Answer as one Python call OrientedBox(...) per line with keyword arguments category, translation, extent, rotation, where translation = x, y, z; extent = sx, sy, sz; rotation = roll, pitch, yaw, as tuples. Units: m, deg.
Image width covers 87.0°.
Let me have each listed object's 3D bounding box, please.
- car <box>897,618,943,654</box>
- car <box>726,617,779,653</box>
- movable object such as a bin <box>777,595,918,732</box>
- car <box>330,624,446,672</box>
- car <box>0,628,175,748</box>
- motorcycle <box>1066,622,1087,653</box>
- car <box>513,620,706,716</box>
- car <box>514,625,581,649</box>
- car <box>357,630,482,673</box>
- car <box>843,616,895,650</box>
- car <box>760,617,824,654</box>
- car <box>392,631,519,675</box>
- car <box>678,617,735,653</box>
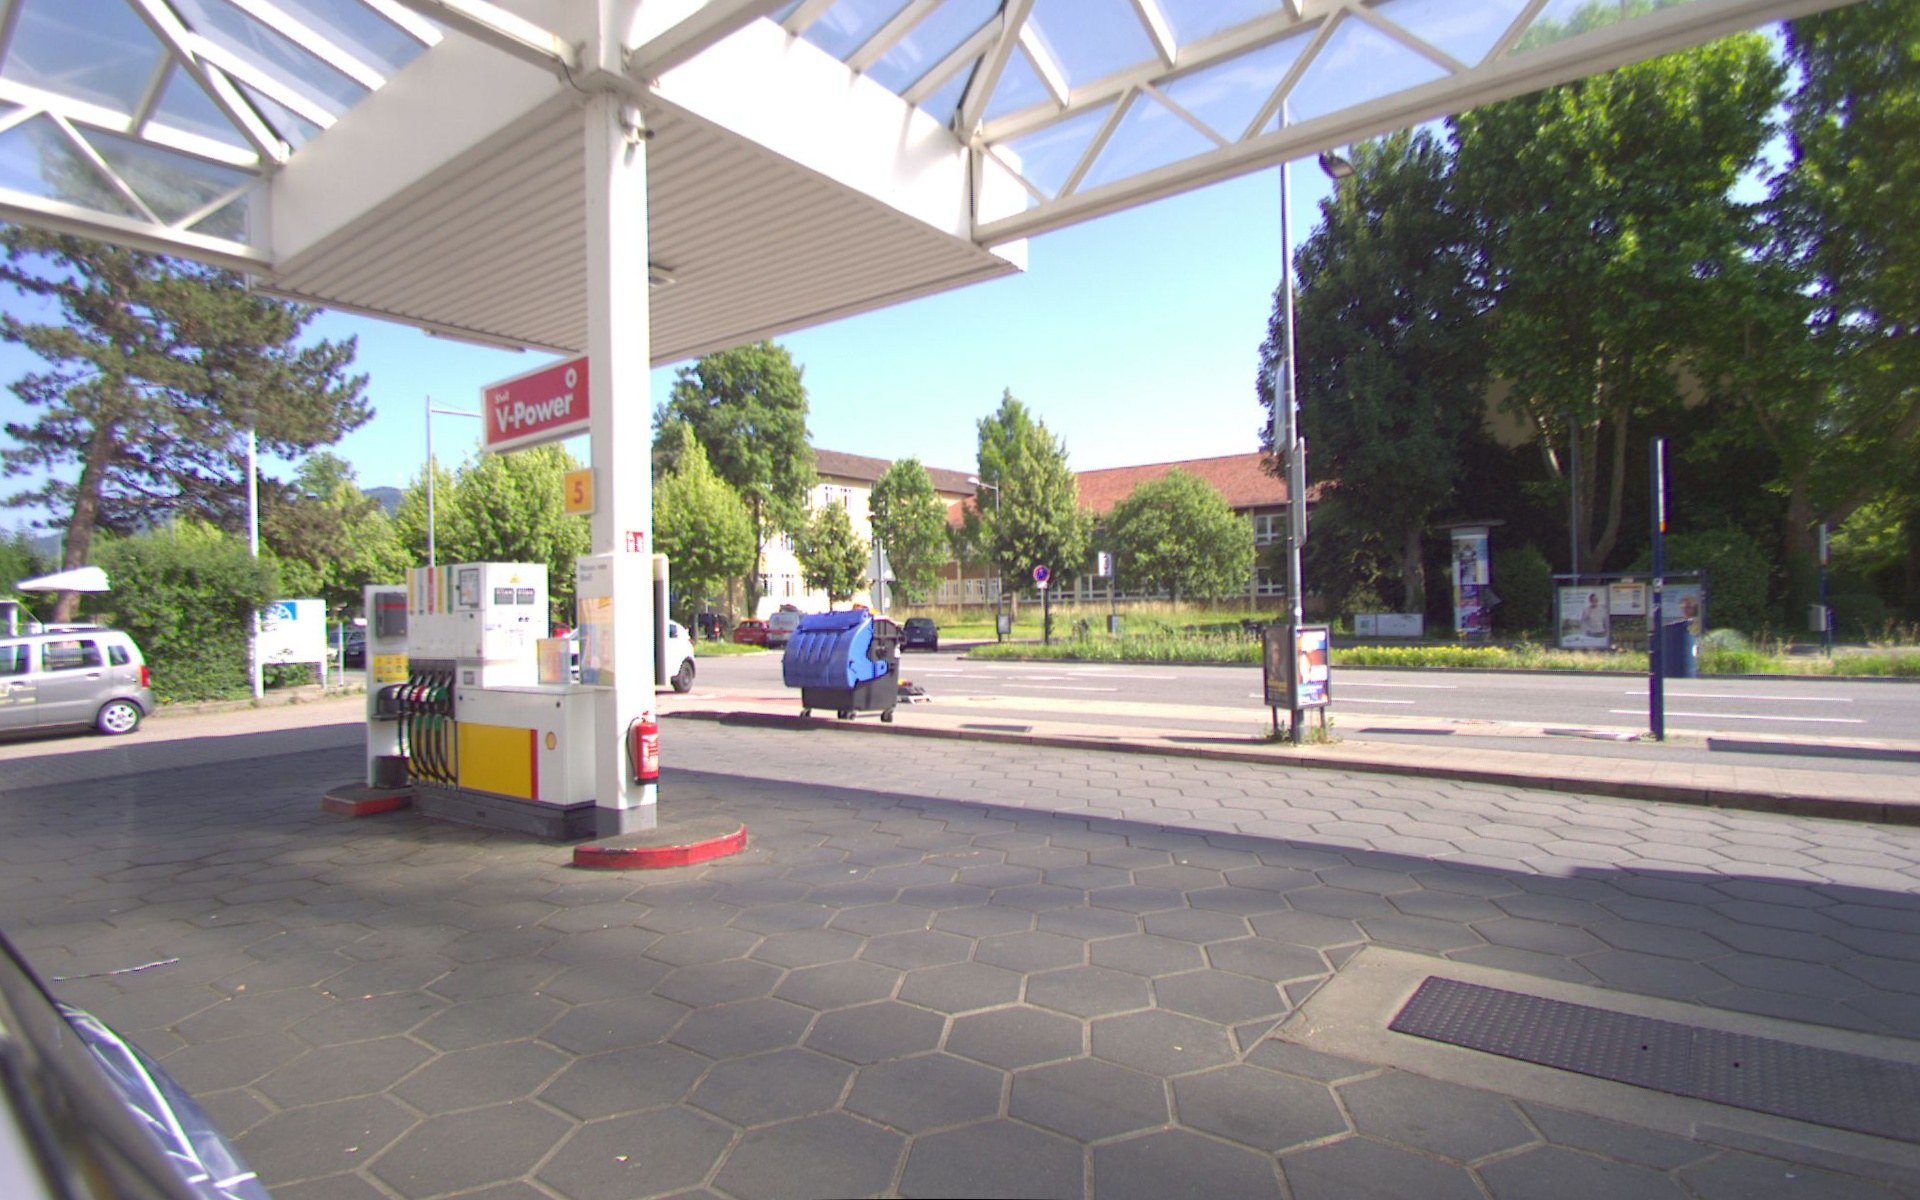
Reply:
OrientedBox(category="car", translation=(-1.701, 1.581, 44.167), extent=(1.718, 1.471, 4.223), rotation=(-1, -2, 2))
OrientedBox(category="car", translation=(-10.305, 1.766, 50.612), extent=(1.854, 1.735, 4.226), rotation=(0, -2, -1))
OrientedBox(category="movable object such as a bin", translation=(-1.497, 0.833, 13.546), extent=(1.336, 1.701, 1.325), rotation=(-2, -3, 39))
OrientedBox(category="car", translation=(-21.888, 1.806, 38.924), extent=(1.684, 1.733, 4.396), rotation=(-1, -2, 5))
OrientedBox(category="car", translation=(-14.390, 1.336, 15.343), extent=(1.691, 1.629, 3.614), rotation=(-2, 0, 39))
OrientedBox(category="motorcycle", translation=(4.483, 1.441, 38.848), extent=(0.552, 1.122, 1.751), rotation=(-1, -1, 14))
OrientedBox(category="car", translation=(-7.062, 1.312, 20.938), extent=(1.940, 1.719, 4.294), rotation=(-2, -1, 9))
OrientedBox(category="car", translation=(-25.300, 2.273, 62.198), extent=(1.867, 1.401, 3.702), rotation=(0, -2, 19))
OrientedBox(category="car", translation=(-19.939, 1.880, 37.551), extent=(1.861, 1.493, 4.211), rotation=(-1, -2, 11))
OrientedBox(category="car", translation=(-4.091, 1.499, 45.867), extent=(1.856, 1.471, 4.223), rotation=(0, -2, 2))
OrientedBox(category="car", translation=(-8.061, 1.717, 48.949), extent=(1.860, 1.735, 4.214), rotation=(0, -2, 8))
OrientedBox(category="car", translation=(-17.672, 1.844, 35.684), extent=(1.861, 1.428, 4.211), rotation=(-1, -2, 11))
OrientedBox(category="car", translation=(-12.631, 1.756, 50.701), extent=(1.854, 1.735, 4.226), rotation=(0, -2, -1))
